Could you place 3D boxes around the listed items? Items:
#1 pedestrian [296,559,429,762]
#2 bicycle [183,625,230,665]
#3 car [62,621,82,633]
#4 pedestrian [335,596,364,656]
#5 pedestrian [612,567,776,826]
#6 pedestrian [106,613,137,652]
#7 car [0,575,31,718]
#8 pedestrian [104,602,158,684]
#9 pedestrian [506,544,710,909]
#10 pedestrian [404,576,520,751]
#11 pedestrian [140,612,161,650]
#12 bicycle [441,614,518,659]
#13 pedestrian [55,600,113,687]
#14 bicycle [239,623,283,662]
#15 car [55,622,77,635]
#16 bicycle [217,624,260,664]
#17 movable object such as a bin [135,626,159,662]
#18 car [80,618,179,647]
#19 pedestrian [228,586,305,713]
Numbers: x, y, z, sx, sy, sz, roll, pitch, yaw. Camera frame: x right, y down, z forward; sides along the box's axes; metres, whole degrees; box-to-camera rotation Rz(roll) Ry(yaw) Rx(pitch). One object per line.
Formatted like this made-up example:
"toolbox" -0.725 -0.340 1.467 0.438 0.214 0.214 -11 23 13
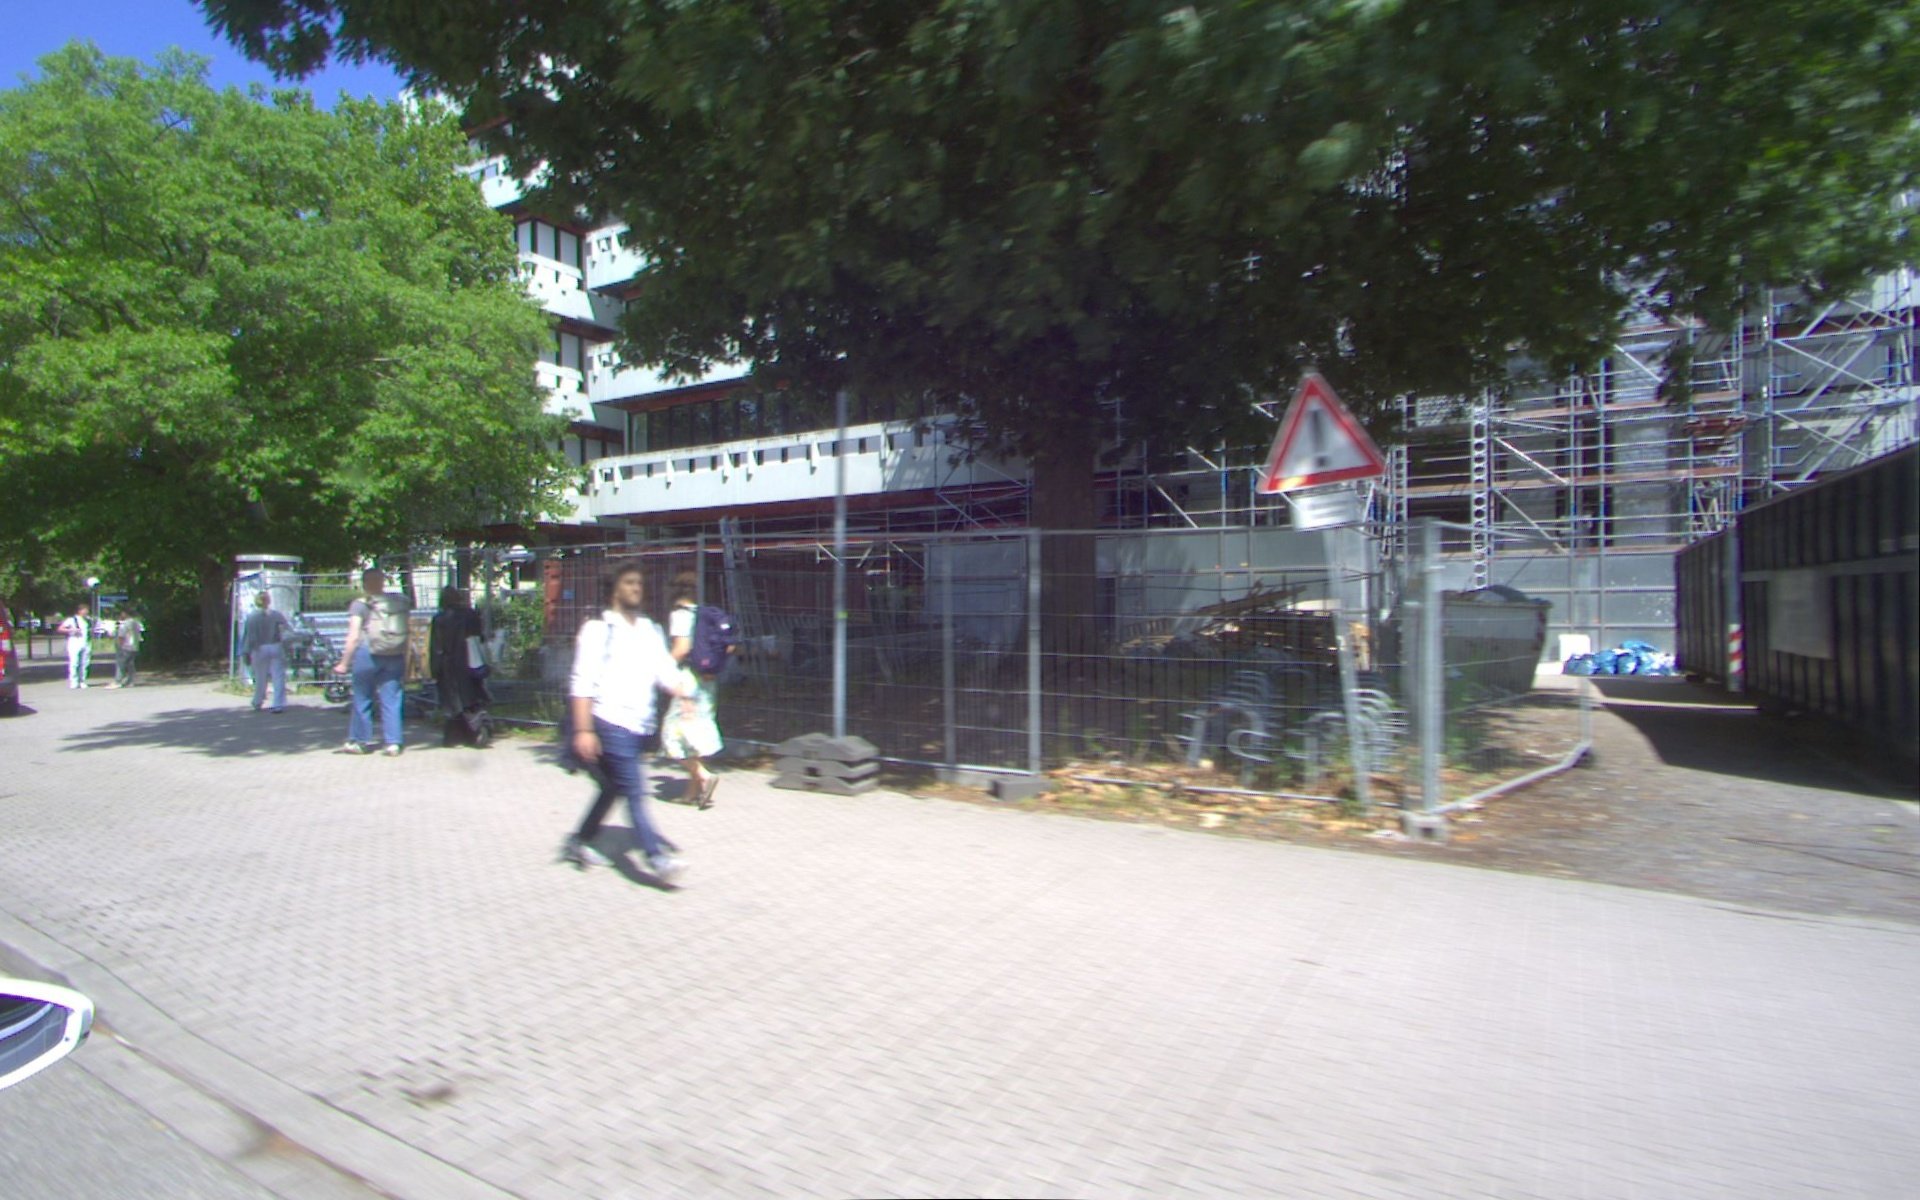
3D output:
"pedestrian" -5.566 0.538 9.349 0.707 1.787 0.846 0 1 37
"bicycle" -22.152 1.300 29.414 1.848 1.133 0.617 -1 0 37
"car" -106.882 3.279 120.549 1.602 1.382 4.526 0 -1 -39
"pedestrian" -19.229 0.827 31.533 0.752 1.861 0.541 -1 0 38
"pedestrian" -1.858 0.633 7.015 0.890 1.688 0.649 0 1 27
"pedestrian" -41.353 1.587 49.407 0.813 1.779 0.834 -15 9 -37
"car" -15.105 0.658 14.568 4.834 1.916 1.839 -1 0 41
"pedestrian" -17.957 0.919 21.695 0.553 1.732 0.745 -1 0 -4
"pedestrian" -1.902 0.631 5.439 0.775 1.804 0.693 0 1 30
"pedestrian" -4.890 0.590 9.834 0.973 1.621 0.665 0 1 39
"pedestrian" -40.356 1.529 49.931 0.663 1.897 0.788 0 0 -28
"bicycle" -12.086 0.918 25.185 1.775 1.092 0.499 -2 1 12
"pedestrian" -18.968 0.925 21.695 0.618 1.845 0.723 -1 0 -4
"bicycle" -20.841 1.258 29.831 1.911 1.133 0.497 -1 0 37
"car" -100.804 3.170 112.887 1.602 1.382 3.968 0 -1 -39
"bicycle" -21.246 1.275 29.482 1.848 1.133 0.497 -1 0 37
"movable object such as a bin" -24.861 1.343 30.614 0.499 1.086 0.487 0 0 39
"car" -49.937 1.931 60.317 4.445 1.545 1.797 -1 0 -37
"pedestrian" -9.385 0.652 13.559 0.703 1.653 0.709 -1 0 42
